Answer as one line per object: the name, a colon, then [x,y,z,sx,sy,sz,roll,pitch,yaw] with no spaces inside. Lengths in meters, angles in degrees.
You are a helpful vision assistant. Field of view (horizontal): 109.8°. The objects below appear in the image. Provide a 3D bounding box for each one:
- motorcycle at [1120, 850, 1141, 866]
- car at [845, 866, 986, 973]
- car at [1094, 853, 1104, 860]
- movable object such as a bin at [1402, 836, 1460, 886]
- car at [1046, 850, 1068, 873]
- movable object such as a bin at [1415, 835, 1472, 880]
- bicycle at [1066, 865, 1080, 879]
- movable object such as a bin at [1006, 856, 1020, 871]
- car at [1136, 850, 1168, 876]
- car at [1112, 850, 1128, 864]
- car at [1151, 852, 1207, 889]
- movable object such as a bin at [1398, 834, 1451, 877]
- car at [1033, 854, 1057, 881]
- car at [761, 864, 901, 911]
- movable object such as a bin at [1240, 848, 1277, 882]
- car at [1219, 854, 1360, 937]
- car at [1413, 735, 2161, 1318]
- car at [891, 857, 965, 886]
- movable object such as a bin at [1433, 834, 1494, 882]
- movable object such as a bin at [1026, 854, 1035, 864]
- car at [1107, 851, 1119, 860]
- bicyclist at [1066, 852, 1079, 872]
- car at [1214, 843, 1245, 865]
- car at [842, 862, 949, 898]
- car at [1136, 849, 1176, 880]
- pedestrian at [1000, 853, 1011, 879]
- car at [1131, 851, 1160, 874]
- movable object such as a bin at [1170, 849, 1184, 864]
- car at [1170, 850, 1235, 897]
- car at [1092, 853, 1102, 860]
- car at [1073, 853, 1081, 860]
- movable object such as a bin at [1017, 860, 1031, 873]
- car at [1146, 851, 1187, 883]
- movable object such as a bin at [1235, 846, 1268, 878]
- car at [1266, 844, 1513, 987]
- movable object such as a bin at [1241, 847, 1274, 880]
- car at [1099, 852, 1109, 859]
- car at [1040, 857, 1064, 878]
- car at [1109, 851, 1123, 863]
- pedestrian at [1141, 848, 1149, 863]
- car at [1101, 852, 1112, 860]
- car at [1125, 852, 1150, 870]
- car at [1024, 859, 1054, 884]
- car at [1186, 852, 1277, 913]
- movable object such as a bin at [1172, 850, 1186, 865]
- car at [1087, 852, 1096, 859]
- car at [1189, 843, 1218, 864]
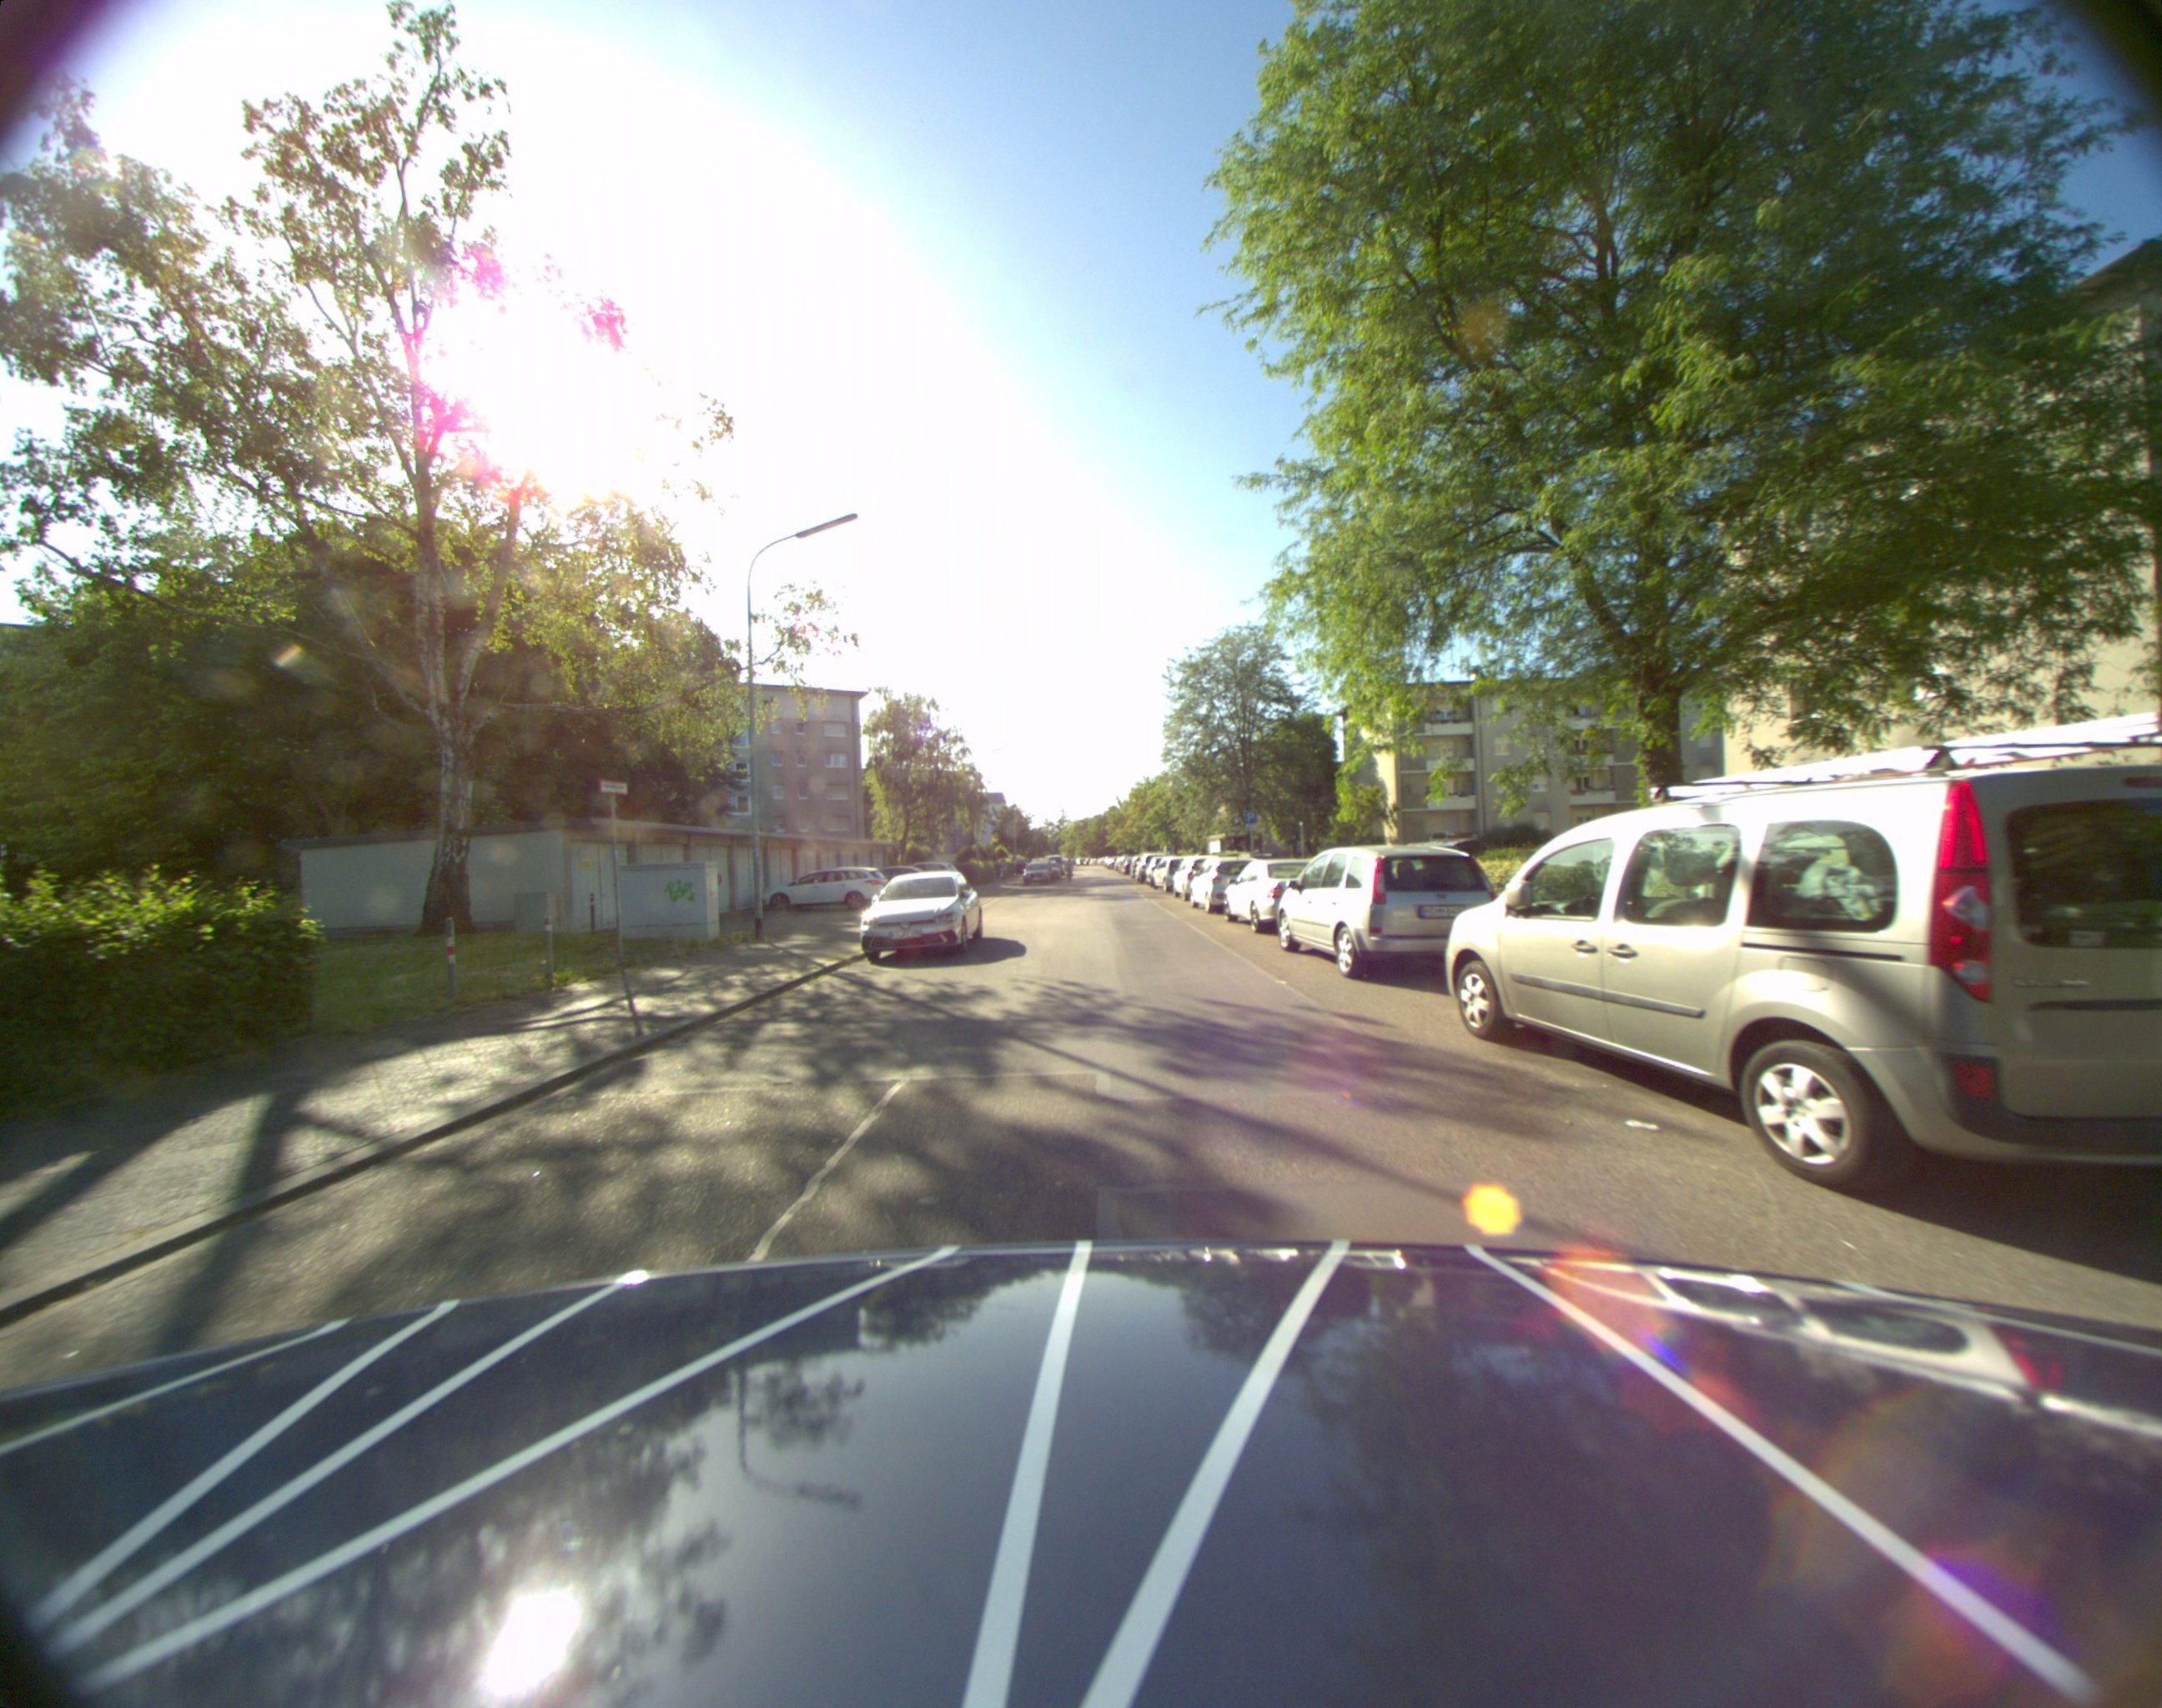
motorcycle: [5.304,0.421,81.523,2.262,1.717,0.932,0,1,-2]
car: [-2.918,1.085,14.253,1.758,1.505,4.103,-4,0,-2]
car: [3.899,0.485,164.592,1.658,1.470,3.104,-1,0,-4]
movable object such as a bin: [10.990,0.209,23.916,1.137,1.412,1.361,-5,0,2]
car: [-2.261,0.687,72.682,1.857,1.923,4.704,-4,0,0]
movable object such as a bin: [12.368,0.107,26.000,1.180,1.412,1.462,-5,0,3]
bicycle: [-0.558,1.224,52.887,0.824,0.896,2.203,-3,0,2]
movable object such as a bin: [-6.742,0.934,75.561,1.226,1.357,1.133,-2,1,4]
car: [4.530,0.537,49.041,1.640,1.597,3.534,-2,0,-1]
car: [4.800,0.383,94.706,1.758,1.626,4.370,0,0,0]
car: [4.268,0.681,33.552,1.667,1.504,3.536,-2,0,-6]
movable object such as a bin: [12.407,0.067,27.471,1.180,1.412,1.462,-5,0,3]
car: [-2.507,0.909,53.225,1.492,1.708,2.583,-4,0,0]
car: [-8.989,1.182,27.580,4.426,1.505,1.829,-2,0,1]
movable object such as a bin: [7.600,0.467,32.629,1.180,1.332,1.343,-5,0,2]
car: [4.138,0.746,15.856,1.691,1.456,4.525,0,0,0]
car: [3.989,0.538,4.688,1.859,1.881,4.417,-1,0,-1]
car: [-8.935,1.013,44.565,3.953,1.505,1.828,-2,0,-2]
movable object such as a bin: [12.288,0.126,24.481,1.180,1.412,1.462,-5,0,3]
movable object such as a bin: [-8.046,0.808,120.344,1.328,1.423,1.029,-3,0,-5]
car: [5.151,0.187,122.801,1.759,1.377,4.673,-1,1,0]
bicyclist: [-0.598,0.572,52.838,0.812,1.348,1.091,-3,0,1]
car: [11.951,0.005,61.290,1.574,1.631,3.999,-4,0,-1]
car: [-8.660,1.214,35.756,4.524,1.505,1.829,-2,0,2]
car: [4.255,0.582,43.669,1.908,1.630,4.348,-2,0,0]
pedestrian: [-5.632,0.888,57.061,0.705,1.877,0.872,0,1,1]
car: [4.583,0.589,54.473,1.758,1.597,3.968,0,0,1]
movable object such as a bin: [9.202,0.263,72.936,1.180,1.400,1.343,-3,0,1]
car: [4.287,0.657,27.345,1.691,1.526,3.890,-2,0,0]
car: [3.570,0.480,169.948,1.658,1.470,3.733,-1,0,-7]
car: [-1.042,0.667,200.172,1.659,1.558,3.687,-1,0,-11]
movable object such as a bin: [-5.481,1.208,73.697,1.028,1.302,1.388,1,1,11]
car: [4.257,0.617,38.262,1.666,1.504,3.945,-2,0,2]
movable object such as a bin: [7.935,0.359,35.439,1.139,1.374,1.442,-5,0,2]
car: [3.933,0.681,10.475,1.714,1.591,3.985,0,0,-1]
movable object such as a bin: [7.888,0.401,33.999,1.139,1.350,1.243,-5,0,2]
car: [4.689,0.342,157.784,1.635,1.470,3.878,-1,0,-4]
car: [-2.262,1.032,60.334,1.736,1.481,4.500,-4,0,-2]
car: [4.705,0.394,101.680,1.758,1.416,4.210,0,1,2]
pedestrian: [7.132,0.199,85.037,0.722,1.669,0.600,-3,1,0]
car: [5.081,0.348,152.589,1.811,1.470,3.939,-1,0,-2]
car: [4.870,0.600,66.230,1.759,1.472,4.537,0,0,-1]
car: [-2.667,1.089,48.874,1.736,1.395,3.894,-4,0,-2]
car: [4.129,0.731,21.421,1.691,1.497,3.817,-2,0,-1]
movable object such as a bin: [9.220,0.292,71.565,1.180,1.332,1.343,-3,0,2]
car: [2.518,0.440,177.179,1.658,1.621,4.070,-1,0,-6]
car: [9.961,-0.030,62.036,1.574,1.516,3.999,-4,0,-1]
